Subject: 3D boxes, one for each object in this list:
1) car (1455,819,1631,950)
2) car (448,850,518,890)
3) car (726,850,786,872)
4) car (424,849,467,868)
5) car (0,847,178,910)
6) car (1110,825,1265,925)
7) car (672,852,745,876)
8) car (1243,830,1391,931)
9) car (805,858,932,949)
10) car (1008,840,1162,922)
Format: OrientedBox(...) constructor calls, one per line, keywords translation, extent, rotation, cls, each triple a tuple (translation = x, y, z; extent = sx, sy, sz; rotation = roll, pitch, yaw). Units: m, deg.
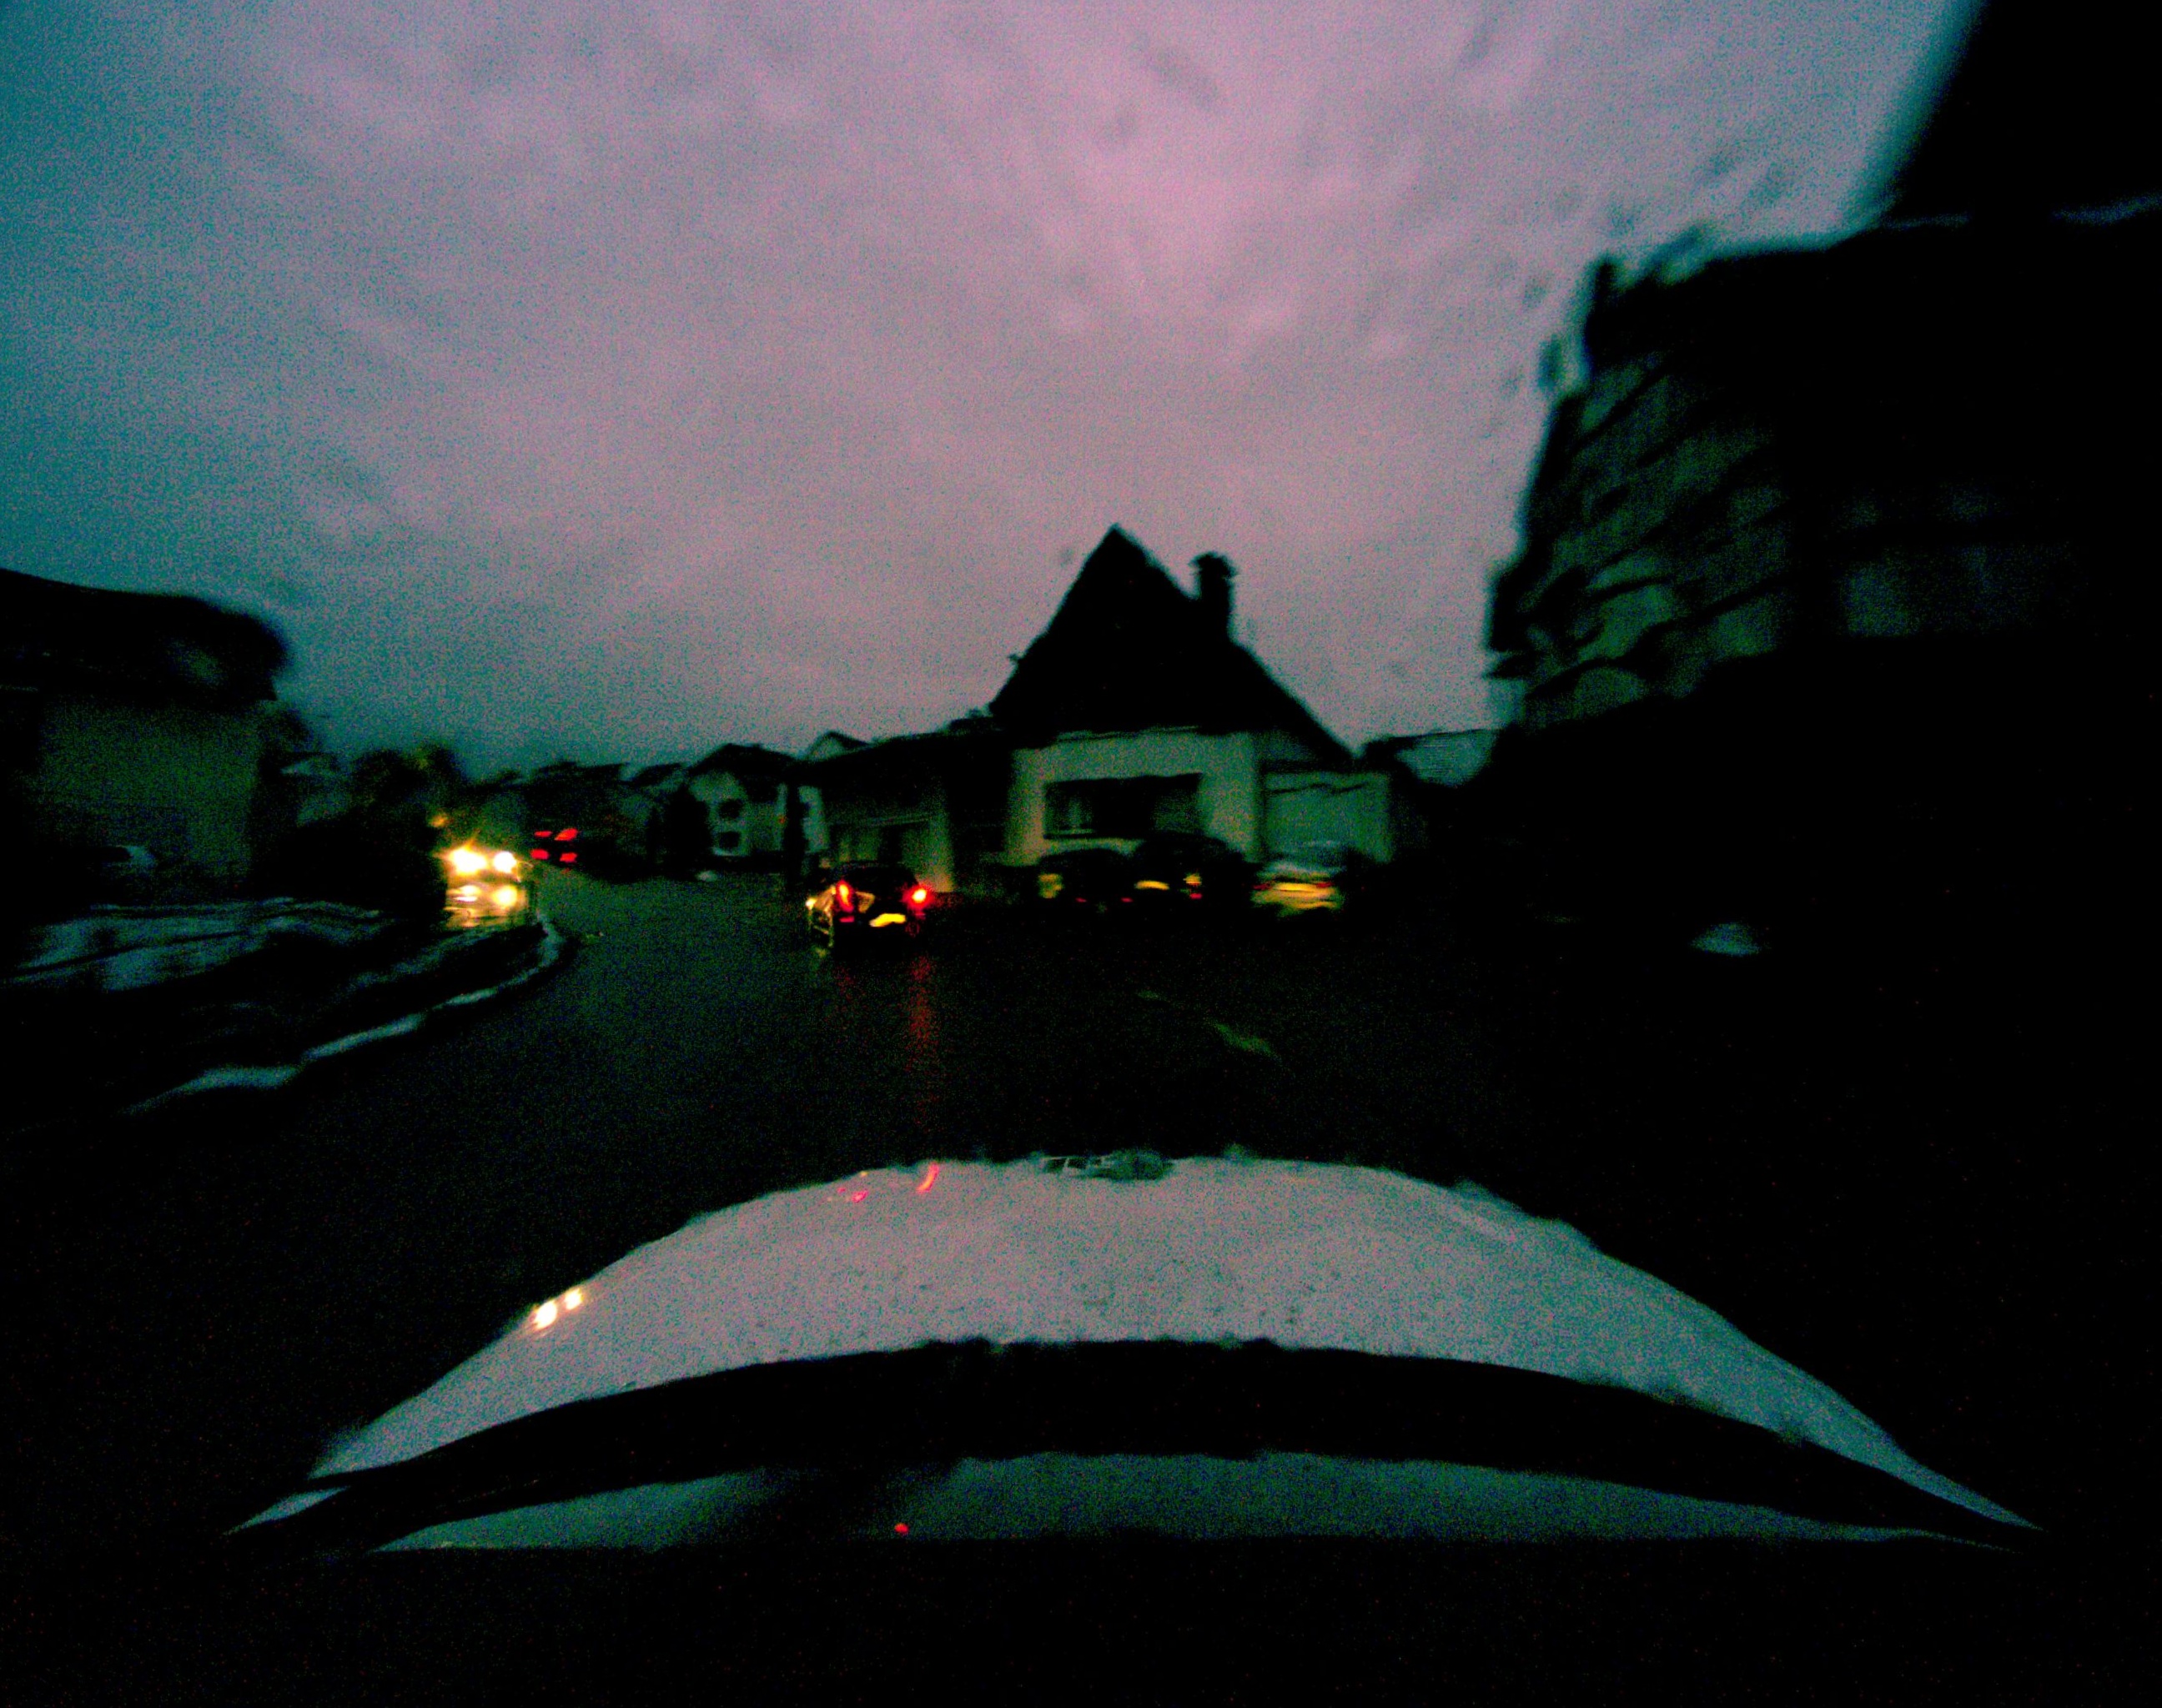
OrientedBox(translation=(6.664, 0.328, 12.144), extent=(1.579, 1.515, 4.006), rotation=(-3, 2, 20), cls="car")
OrientedBox(translation=(-27.588, 0.698, 37.502), extent=(4.546, 1.612, 1.894), rotation=(2, 2, 45), cls="car")
OrientedBox(translation=(-24.819, 0.513, 62.253), extent=(3.954, 1.566, 1.824), rotation=(0, 1, 19), cls="car")
OrientedBox(translation=(-59.788, 0.400, 76.613), extent=(3.948, 1.644, 2.012), rotation=(1, -1, 35), cls="car")
OrientedBox(translation=(-25.278, 0.582, 19.963), extent=(1.797, 1.462, 4.025), rotation=(0, -1, 36), cls="car")
OrientedBox(translation=(2.403, 0.353, 17.178), extent=(1.832, 1.660, 4.504), rotation=(-3, 2, 26), cls="car")
OrientedBox(translation=(-25.694, 0.675, 56.226), extent=(4.499, 1.628, 1.824), rotation=(0, 1, 19), cls="car")
OrientedBox(translation=(4.422, 0.396, 14.797), extent=(1.792, 1.420, 4.063), rotation=(-3, 2, 27), cls="car")
OrientedBox(translation=(-4.061, 0.818, 15.195), extent=(1.554, 1.466, 3.666), rotation=(1, 0, -27), cls="car")
OrientedBox(translation=(0.210, 0.556, 18.589), extent=(1.865, 1.449, 3.918), rotation=(-3, 2, 27), cls="car")
